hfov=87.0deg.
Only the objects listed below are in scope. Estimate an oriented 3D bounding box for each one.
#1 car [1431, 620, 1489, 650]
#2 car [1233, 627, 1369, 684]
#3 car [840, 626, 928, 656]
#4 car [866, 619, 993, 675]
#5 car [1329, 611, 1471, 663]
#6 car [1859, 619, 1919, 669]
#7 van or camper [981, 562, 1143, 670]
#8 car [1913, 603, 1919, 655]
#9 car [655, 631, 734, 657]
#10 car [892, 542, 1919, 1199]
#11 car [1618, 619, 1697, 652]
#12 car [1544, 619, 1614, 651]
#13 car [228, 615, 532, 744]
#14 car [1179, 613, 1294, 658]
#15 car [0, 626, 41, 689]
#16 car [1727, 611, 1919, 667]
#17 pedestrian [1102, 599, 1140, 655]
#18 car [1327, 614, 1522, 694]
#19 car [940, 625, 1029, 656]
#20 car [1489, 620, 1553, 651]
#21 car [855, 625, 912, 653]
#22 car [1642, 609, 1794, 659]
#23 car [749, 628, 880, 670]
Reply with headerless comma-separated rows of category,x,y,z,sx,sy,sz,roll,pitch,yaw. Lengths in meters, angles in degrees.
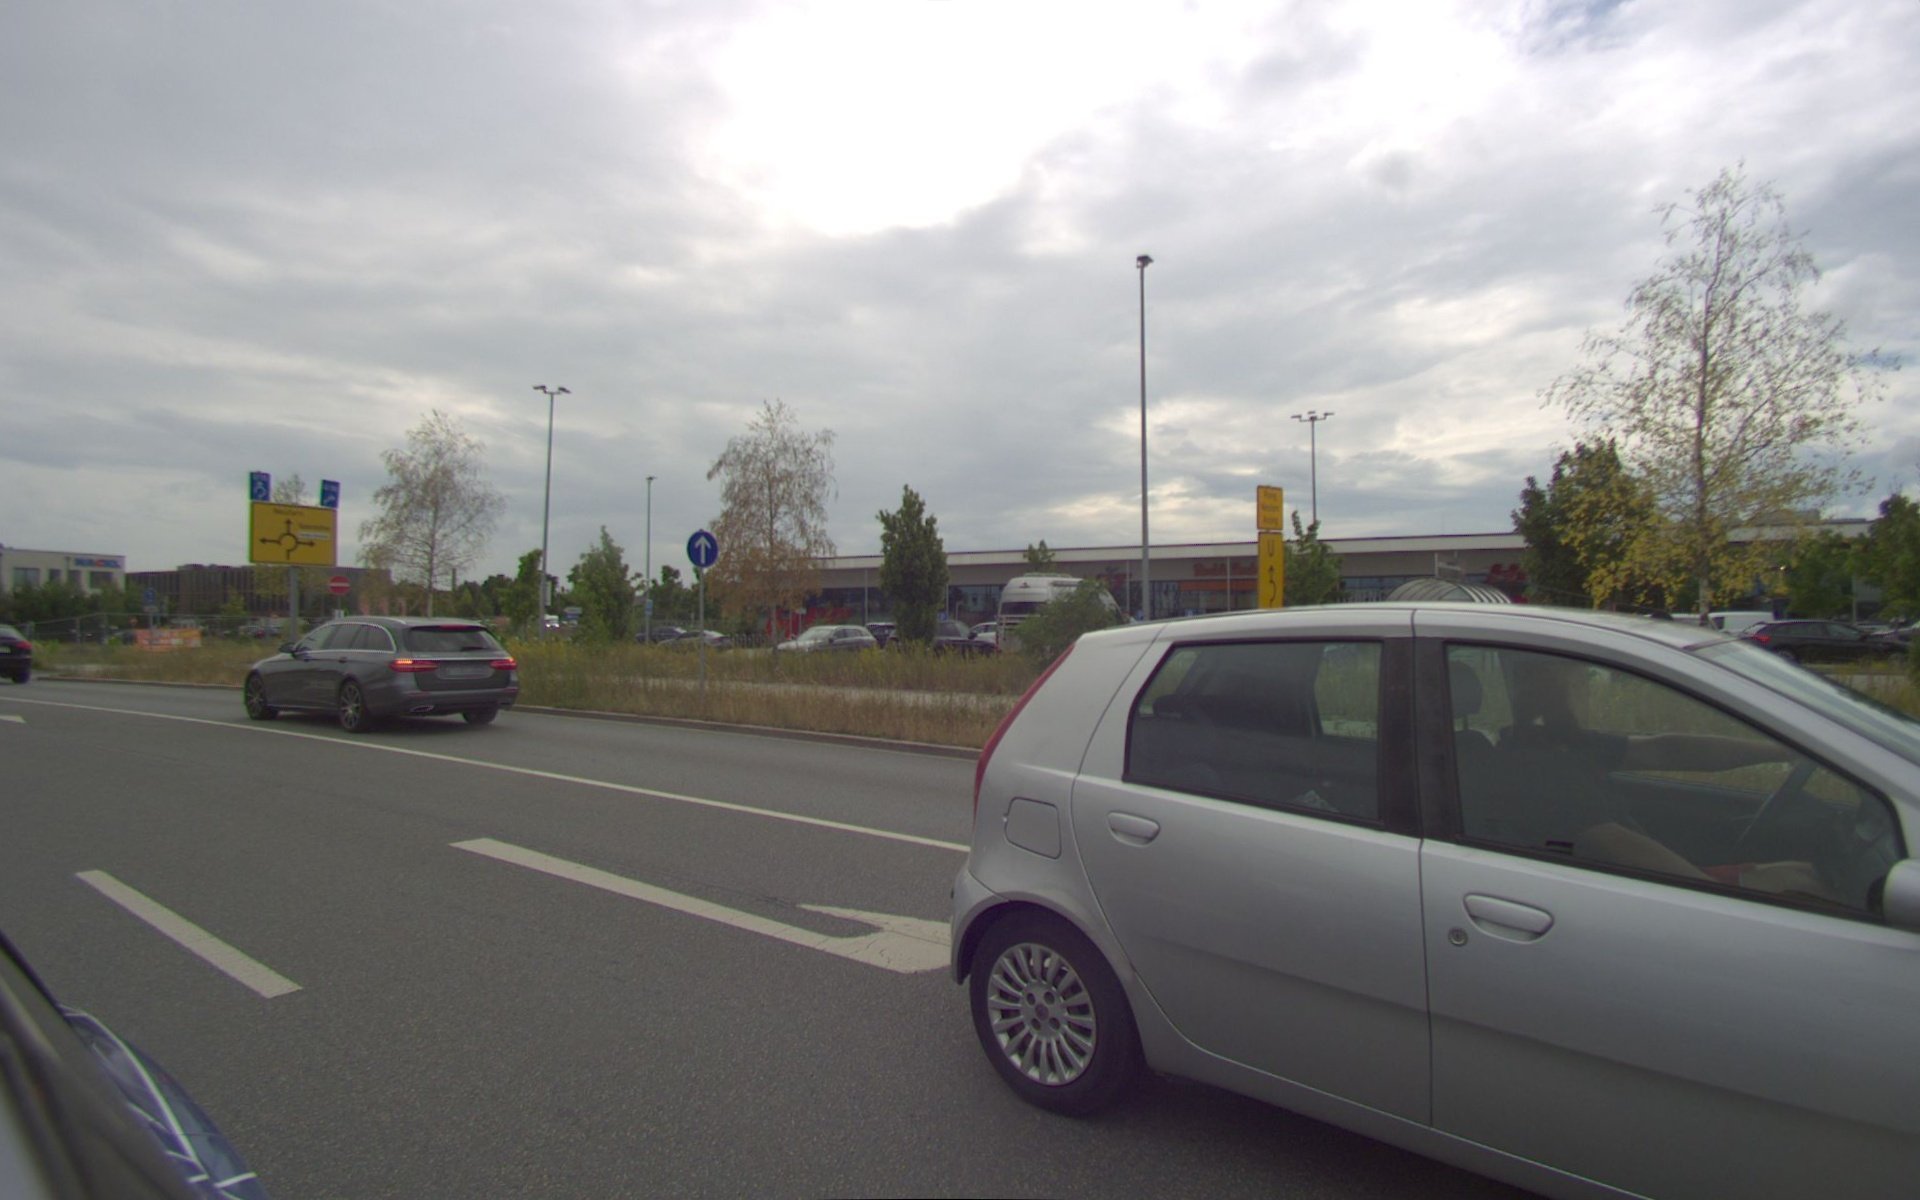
car,25.600,1.792,51.944,1.988,1.493,4.029,-1,-2,17
car,8.778,1.359,25.811,2.008,1.314,4.283,-1,-2,38
car,-3.816,2.017,50.668,4.032,1.453,1.838,-1,-2,19
car,-0.891,1.451,31.992,2.081,1.646,3.908,-1,-2,36
car,16.976,1.407,39.128,4.900,1.914,2.139,-1,-2,27
car,33.512,1.481,34.397,3.967,1.697,1.827,-1,-1,18
van or camper,3.105,0.474,29.500,2.237,2.821,5.803,0,-1,34
car,33.314,0.929,32.126,3.967,1.697,1.827,-1,-1,18
car,-15.204,2.499,58.055,4.168,1.463,1.818,-1,-2,23
car,1.854,0.651,2.458,4.030,1.449,1.685,-2,-2,41
car,33.621,1.699,48.922,1.988,1.493,4.029,-1,-2,17
car,30.845,1.738,50.549,1.988,1.493,4.029,-1,-2,17
car,-8.084,0.993,13.936,4.756,1.501,1.770,-1,-3,35
car,11.288,1.426,41.271,4.360,1.765,1.896,-1,-2,22
car,-24.031,1.336,24.211,4.216,1.456,1.707,0,-2,28
car,25.175,1.104,29.402,4.165,1.530,1.986,-1,-1,21
pedestrian,5.617,0.939,35.303,1.097,1.904,1.011,0,-2,-4
car,8.459,0.915,18.284,2.012,1.269,4.035,-2,-2,43
car,1.157,1.936,48.591,3.879,1.453,1.875,-1,-2,24
car,28.158,1.761,50.929,1.988,1.493,4.029,-1,-2,17
car,-4.874,2.511,65.185,1.942,1.741,3.965,-1,-2,26
car,29.589,1.321,39.705,4.277,1.888,2.228,-1,-2,22
car,-5.021,1.674,35.547,2.136,1.377,4.530,-1,-2,33
